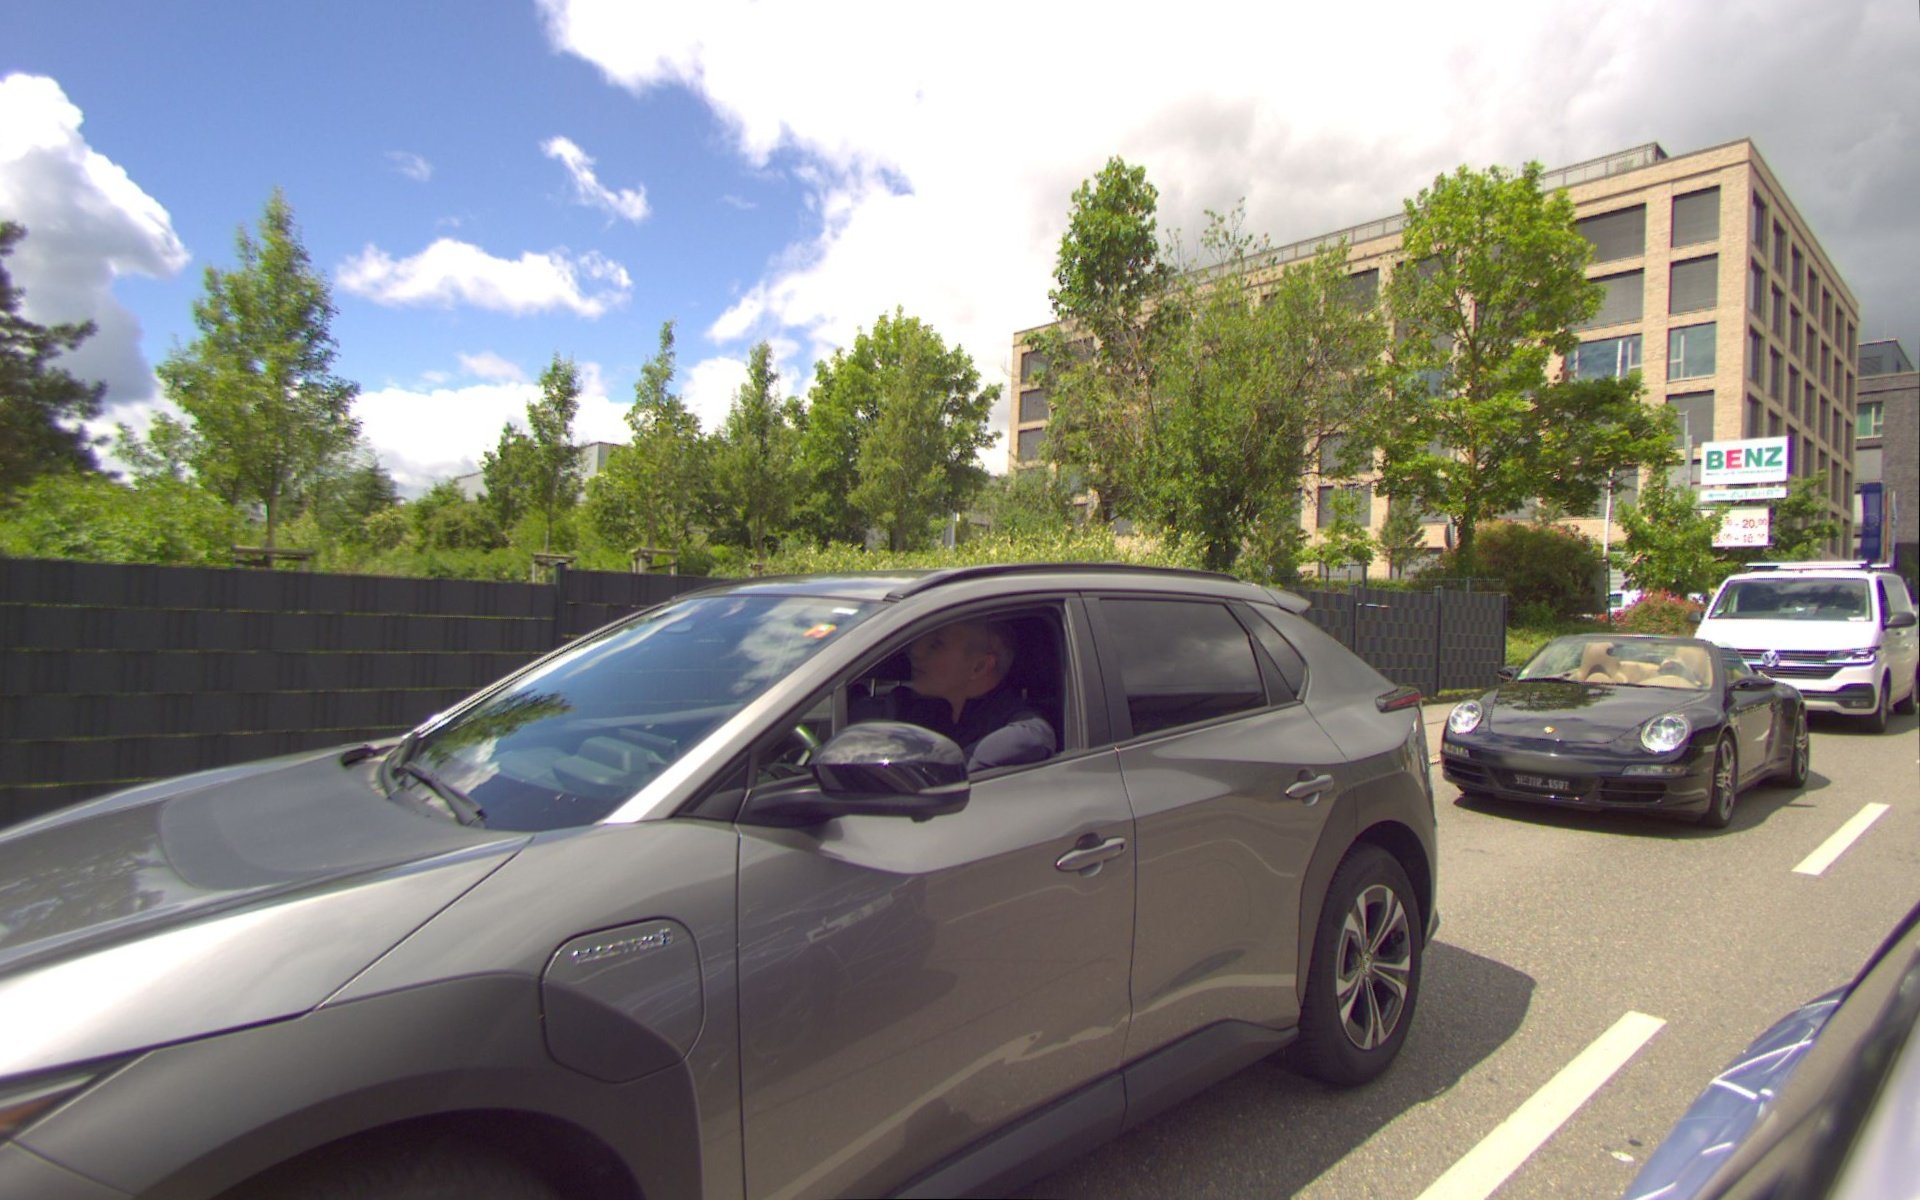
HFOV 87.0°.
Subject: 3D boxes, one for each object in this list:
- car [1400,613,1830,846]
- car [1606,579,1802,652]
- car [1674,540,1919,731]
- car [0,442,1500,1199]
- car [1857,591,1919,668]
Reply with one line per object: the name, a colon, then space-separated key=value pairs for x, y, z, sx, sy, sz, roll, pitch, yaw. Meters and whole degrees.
car: x=5.293 y=0.792 z=7.986 sx=3.967 sy=1.310 sz=1.823 roll=0 pitch=0 yaw=-41
car: x=19.933 y=0.356 z=27.221 sx=1.793 sy=1.754 sz=3.991 roll=0 pitch=2 yaw=-44
car: x=11.341 y=0.375 z=13.348 sx=4.677 sy=2.075 sz=2.087 roll=0 pitch=0 yaw=-41
car: x=-0.392 y=0.640 z=2.911 sx=4.501 sy=1.649 sz=1.997 roll=0 pitch=1 yaw=-42
car: x=20.244 y=0.580 z=21.070 sx=3.930 sy=1.481 sz=1.817 roll=0 pitch=2 yaw=-41
